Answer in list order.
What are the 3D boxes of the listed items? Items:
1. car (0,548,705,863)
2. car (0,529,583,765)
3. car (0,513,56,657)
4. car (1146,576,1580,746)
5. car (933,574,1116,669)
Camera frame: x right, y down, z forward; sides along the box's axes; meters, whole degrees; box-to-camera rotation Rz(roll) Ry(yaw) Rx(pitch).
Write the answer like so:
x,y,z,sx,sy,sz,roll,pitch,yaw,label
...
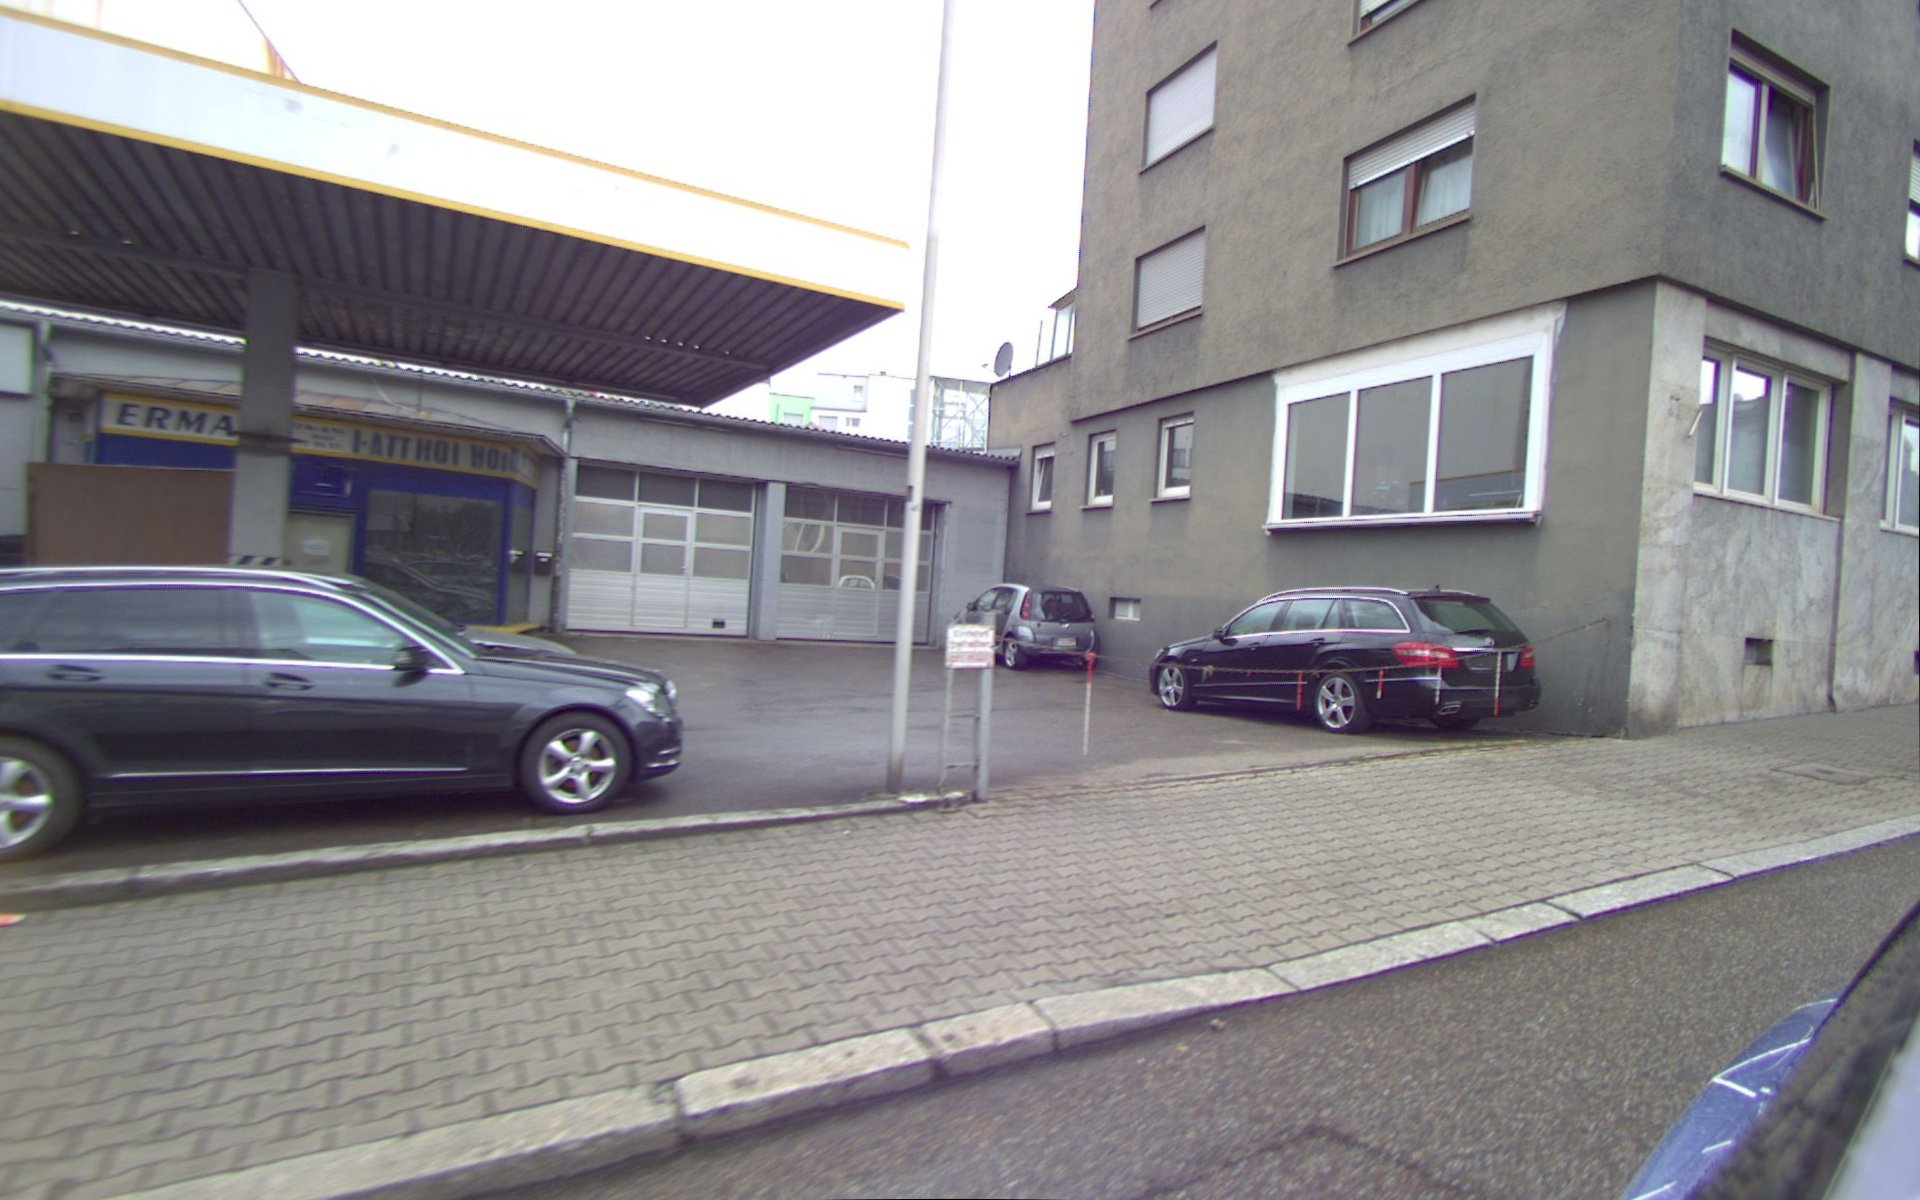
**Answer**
x,y,z,sx,sy,sz,roll,pitch,yaw,label
-3.972,0.483,6.271,4.346,1.530,1.797,0,2,-27,car
-5.569,0.327,8.437,4.328,1.529,1.799,2,4,-27,car
-13.752,-0.205,12.240,3.868,1.752,1.797,0,1,-27,car
4.244,0.548,11.576,1.958,1.523,4.544,0,0,-24,car
1.086,0.343,18.954,1.757,1.471,3.763,2,2,-25,car
